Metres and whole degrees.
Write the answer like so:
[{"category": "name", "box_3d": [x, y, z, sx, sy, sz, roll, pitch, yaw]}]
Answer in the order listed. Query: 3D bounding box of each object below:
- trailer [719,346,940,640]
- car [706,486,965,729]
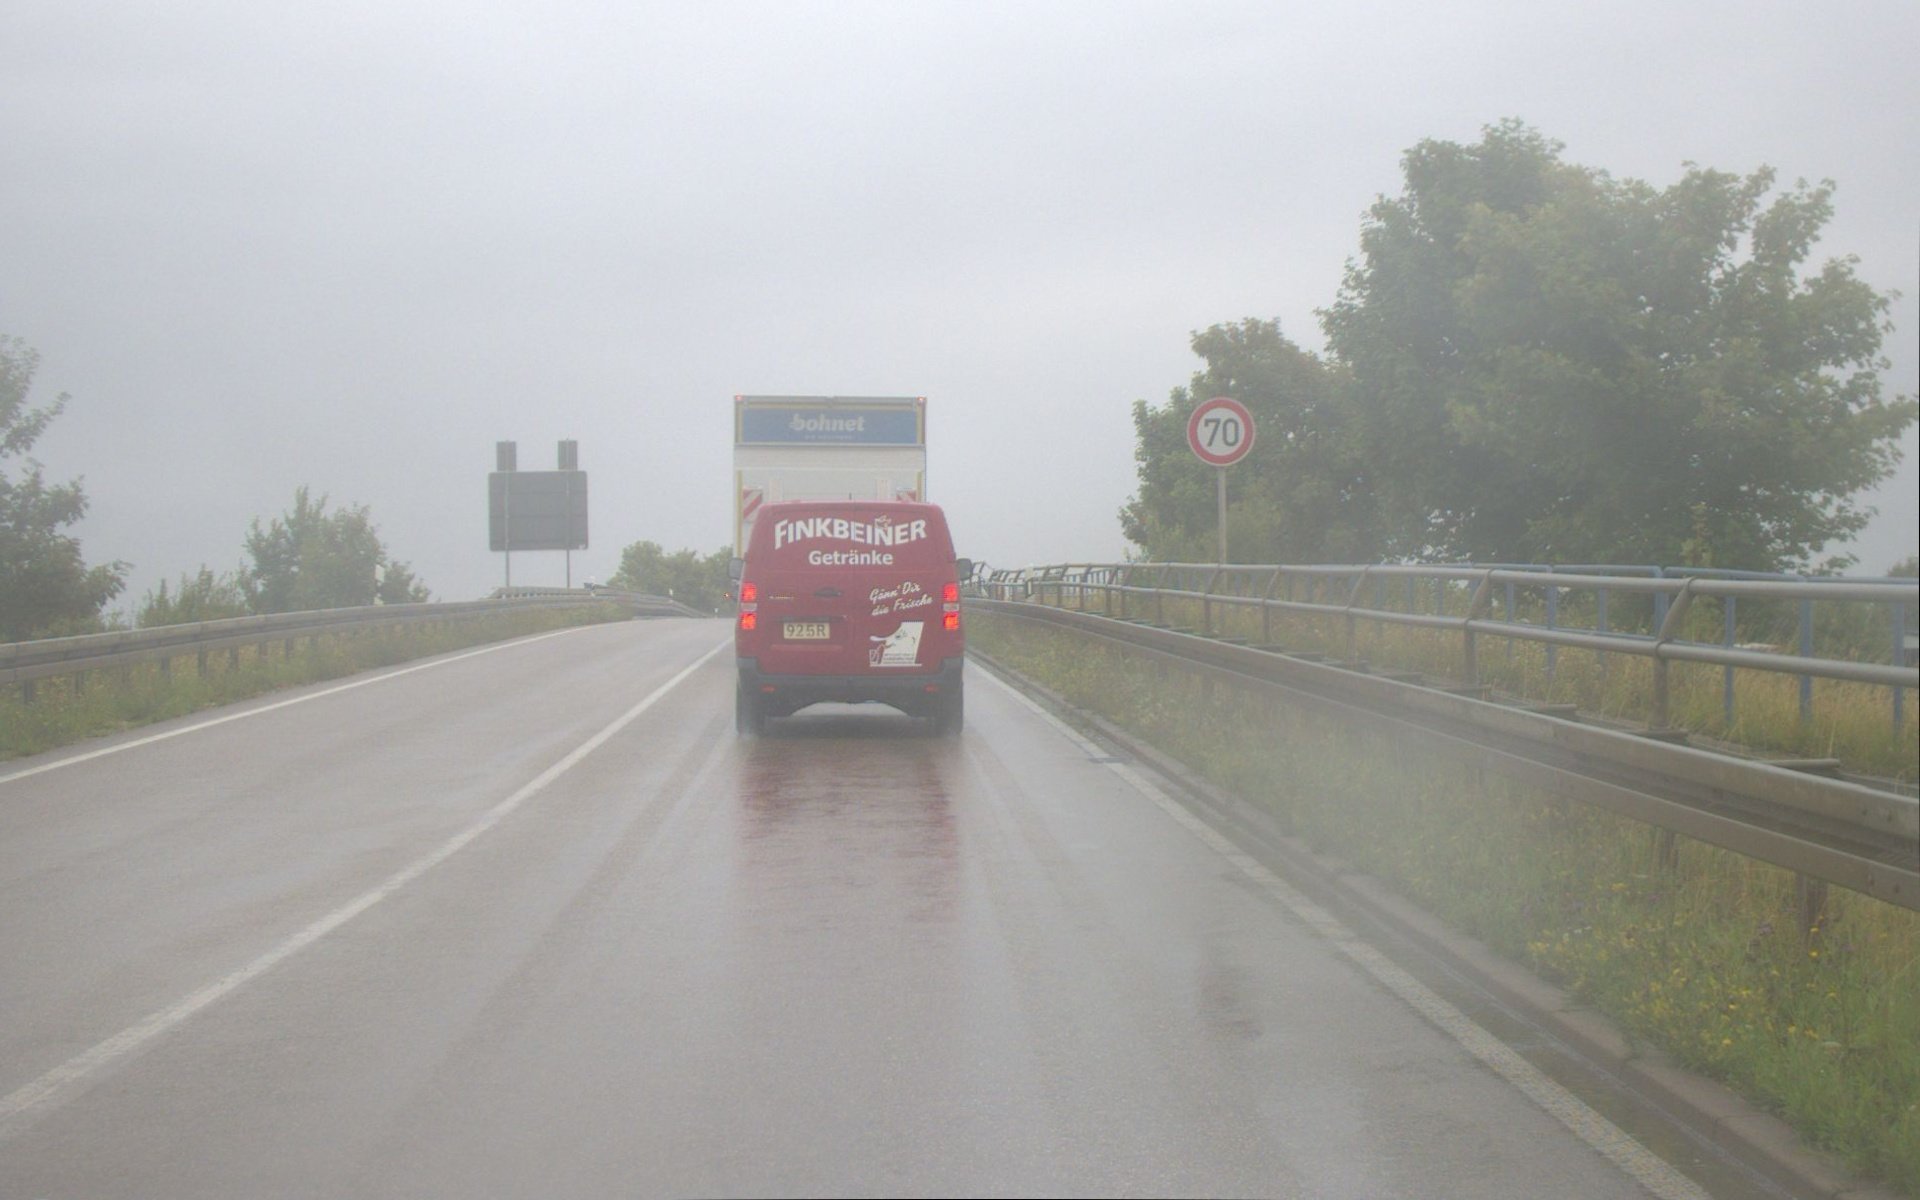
[{"category": "trailer", "box_3d": [-1.737, -1.394, 49.885, 2.832, 3.806, 9.715, -1, 0, 0]}, {"category": "car", "box_3d": [-1.006, 0.037, 29.518, 1.993, 1.864, 4.979, -1, 0, -1]}]
